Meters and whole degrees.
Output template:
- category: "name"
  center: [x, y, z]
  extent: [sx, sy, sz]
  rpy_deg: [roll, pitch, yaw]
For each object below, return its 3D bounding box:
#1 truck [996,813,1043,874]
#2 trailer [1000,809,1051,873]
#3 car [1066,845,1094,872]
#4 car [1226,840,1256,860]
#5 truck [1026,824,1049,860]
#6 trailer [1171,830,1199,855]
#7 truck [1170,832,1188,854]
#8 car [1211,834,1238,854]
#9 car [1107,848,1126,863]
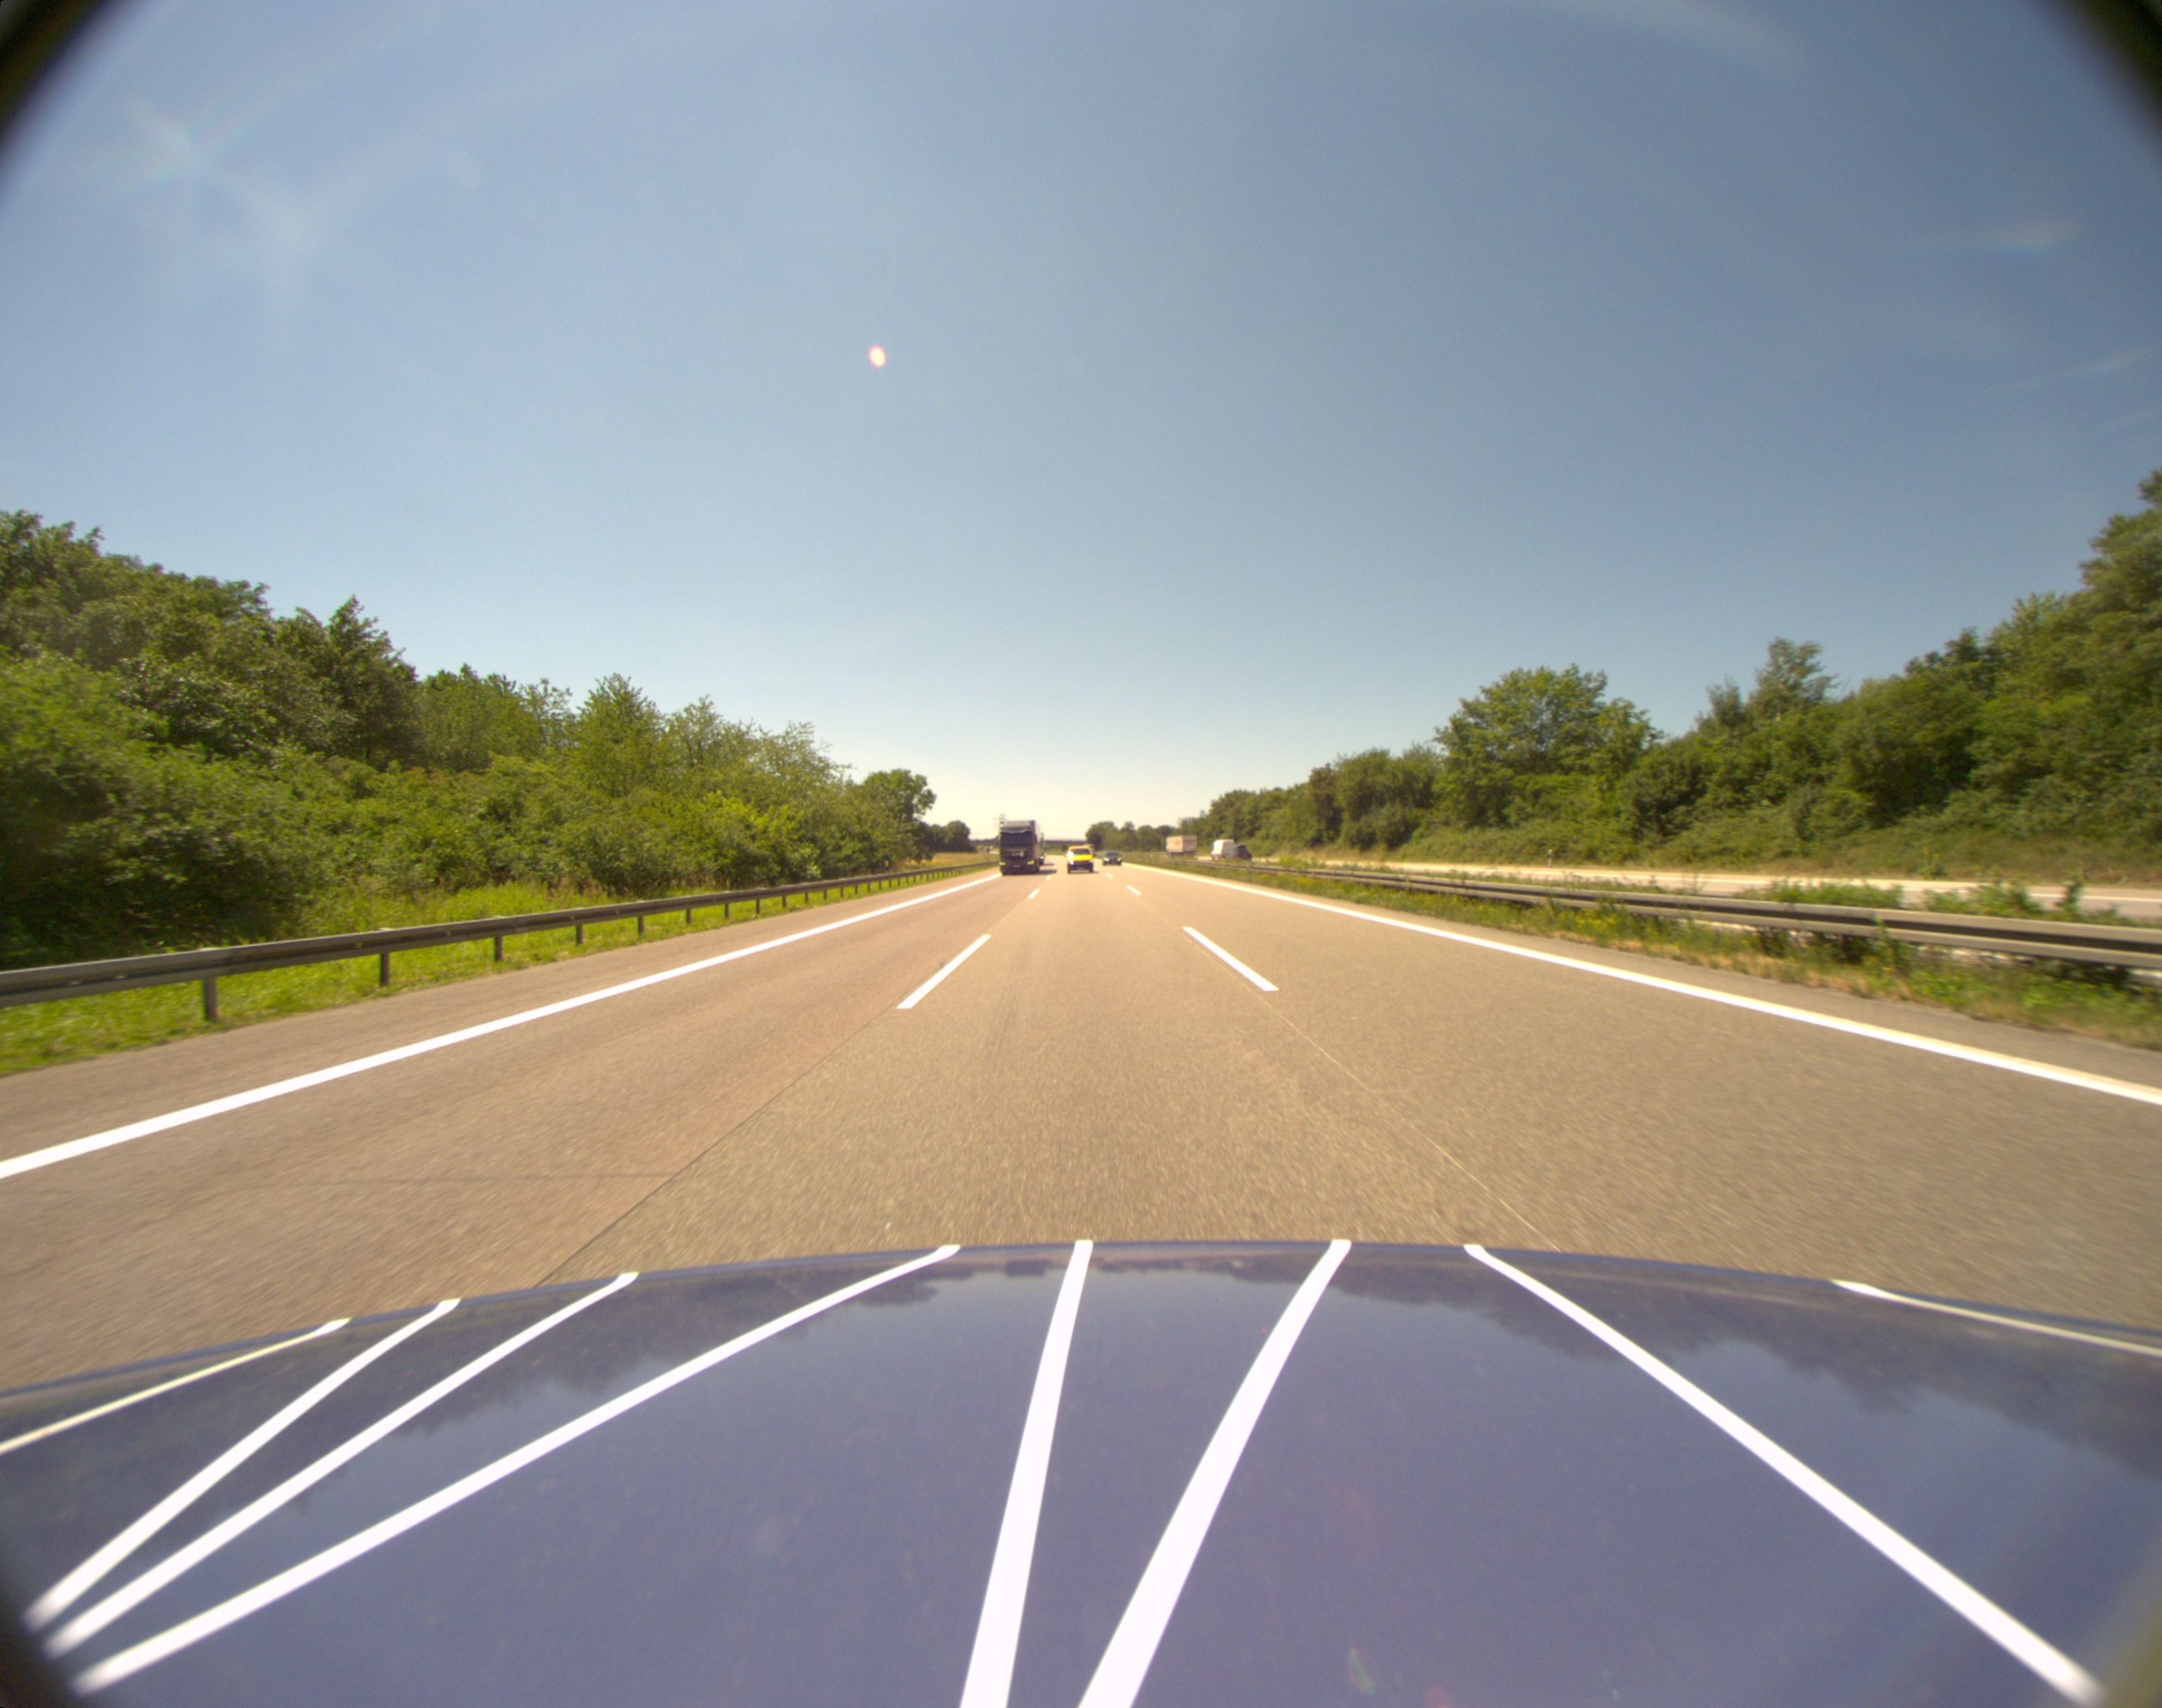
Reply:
- category: "truck"
  center: [-4.463, -0.771, 56.073]
  extent: [2.915, 4.232, 4.974]
  rpy_deg: [-2, 1, 1]
- category: "trailer"
  center: [-4.369, -1.053, 63.265]
  extent: [2.908, 4.630, 13.984]
  rpy_deg: [-2, 1, 1]
- category: "car"
  center: [-0.115, 0.277, 55.597]
  extent: [1.777, 1.882, 3.830]
  rpy_deg: [0, 1, -4]
- category: "car"
  center: [15.958, -0.414, 75.861]
  extent: [1.831, 1.895, 4.955]
  rpy_deg: [-1, 1, -1]
- category: "truck"
  center: [-5.371, -1.408, 93.161]
  extent: [2.608, 4.231, 5.087]
  rpy_deg: [-2, 0, -4]
- category: "trailer"
  center: [18.556, -2.070, 135.976]
  extent: [2.713, 4.160, 13.554]
  rpy_deg: [-1, 1, -2]
- category: "truck"
  center: [18.391, -2.060, 142.758]
  extent: [2.709, 3.943, 4.442]
  rpy_deg: [-1, 1, -1]
- category: "car"
  center: [19.378, -1.341, 103.068]
  extent: [2.234, 2.562, 7.390]
  rpy_deg: [0, 1, -1]
- category: "car"
  center: [3.607, 0.097, 78.502]
  extent: [1.726, 1.478, 3.999]
  rpy_deg: [-1, 1, 0]
